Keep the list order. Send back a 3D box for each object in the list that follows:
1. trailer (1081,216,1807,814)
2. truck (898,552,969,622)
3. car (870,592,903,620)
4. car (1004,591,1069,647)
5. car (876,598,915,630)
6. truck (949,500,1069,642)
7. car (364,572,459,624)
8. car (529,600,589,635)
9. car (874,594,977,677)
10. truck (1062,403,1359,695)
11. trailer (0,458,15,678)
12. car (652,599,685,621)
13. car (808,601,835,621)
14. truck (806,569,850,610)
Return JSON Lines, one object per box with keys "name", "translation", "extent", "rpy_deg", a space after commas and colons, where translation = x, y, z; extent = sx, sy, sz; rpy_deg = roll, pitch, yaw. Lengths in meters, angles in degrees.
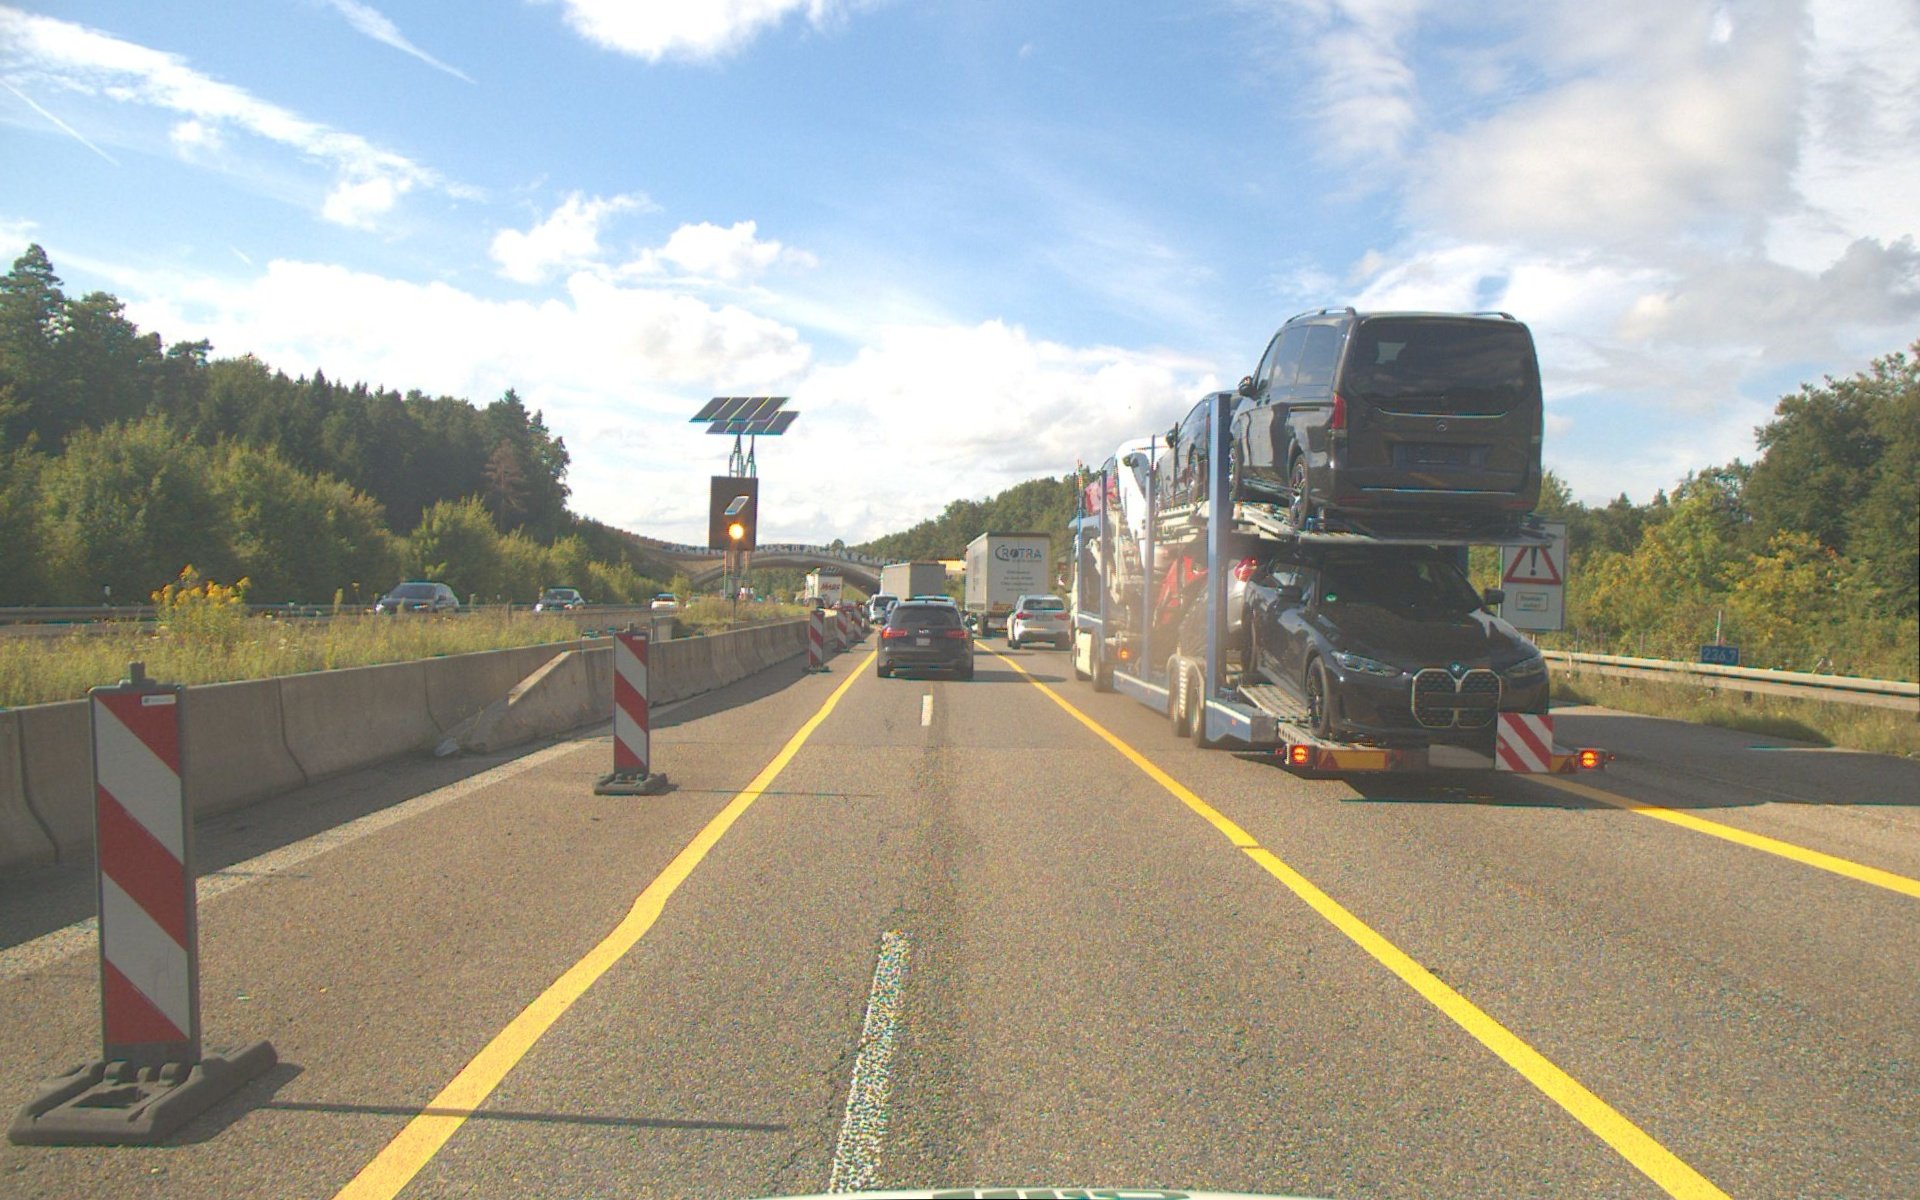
{"name": "trailer", "translation": [4.130, -0.590, 20.116], "extent": [3.651, 4.270, 16.222], "rpy_deg": [1, 0, -1]}
{"name": "truck", "translation": [-1.993, -0.898, 117.963], "extent": [4.235, 4.681, 11.113], "rpy_deg": [1, 0, -5]}
{"name": "car", "translation": [-4.616, 0.390, 103.675], "extent": [1.854, 1.672, 4.013], "rpy_deg": [1, 0, -6]}
{"name": "car", "translation": [2.384, 0.580, 52.228], "extent": [1.851, 1.672, 4.018], "rpy_deg": [1, 0, 0]}
{"name": "car", "translation": [-3.498, 0.736, 89.587], "extent": [1.854, 1.672, 4.013], "rpy_deg": [1, 0, -6]}
{"name": "truck", "translation": [1.852, -1.094, 72.291], "extent": [3.605, 5.447, 16.187], "rpy_deg": [1, 0, -4]}
{"name": "car", "translation": [-18.036, -0.049, 54.540], "extent": [1.741, 1.630, 4.018], "rpy_deg": [1, 0, 0]}
{"name": "car", "translation": [-19.583, 0.831, 80.985], "extent": [1.919, 1.616, 4.481], "rpy_deg": [1, 0, -1]}
{"name": "car", "translation": [-0.616, 0.651, 32.074], "extent": [1.851, 1.472, 4.000], "rpy_deg": [1, 0, 0]}
{"name": "truck", "translation": [3.975, -0.745, 28.569], "extent": [3.685, 4.270, 7.948], "rpy_deg": [1, 0, -2]}
{"name": "trailer", "translation": [-16.837, -0.549, 21.411], "extent": [2.744, 3.551, 11.112], "rpy_deg": [1, 0, 0]}
{"name": "car", "translation": [-22.505, 0.785, 127.859], "extent": [1.741, 1.630, 4.018], "rpy_deg": [1, 0, 0]}
{"name": "car", "translation": [-11.924, 0.948, 142.372], "extent": [1.748, 1.630, 4.003], "rpy_deg": [1, 0, -14]}
{"name": "truck", "translation": [-13.870, -1.051, 172.655], "extent": [3.587, 3.997, 11.042], "rpy_deg": [1, 0, -10]}
